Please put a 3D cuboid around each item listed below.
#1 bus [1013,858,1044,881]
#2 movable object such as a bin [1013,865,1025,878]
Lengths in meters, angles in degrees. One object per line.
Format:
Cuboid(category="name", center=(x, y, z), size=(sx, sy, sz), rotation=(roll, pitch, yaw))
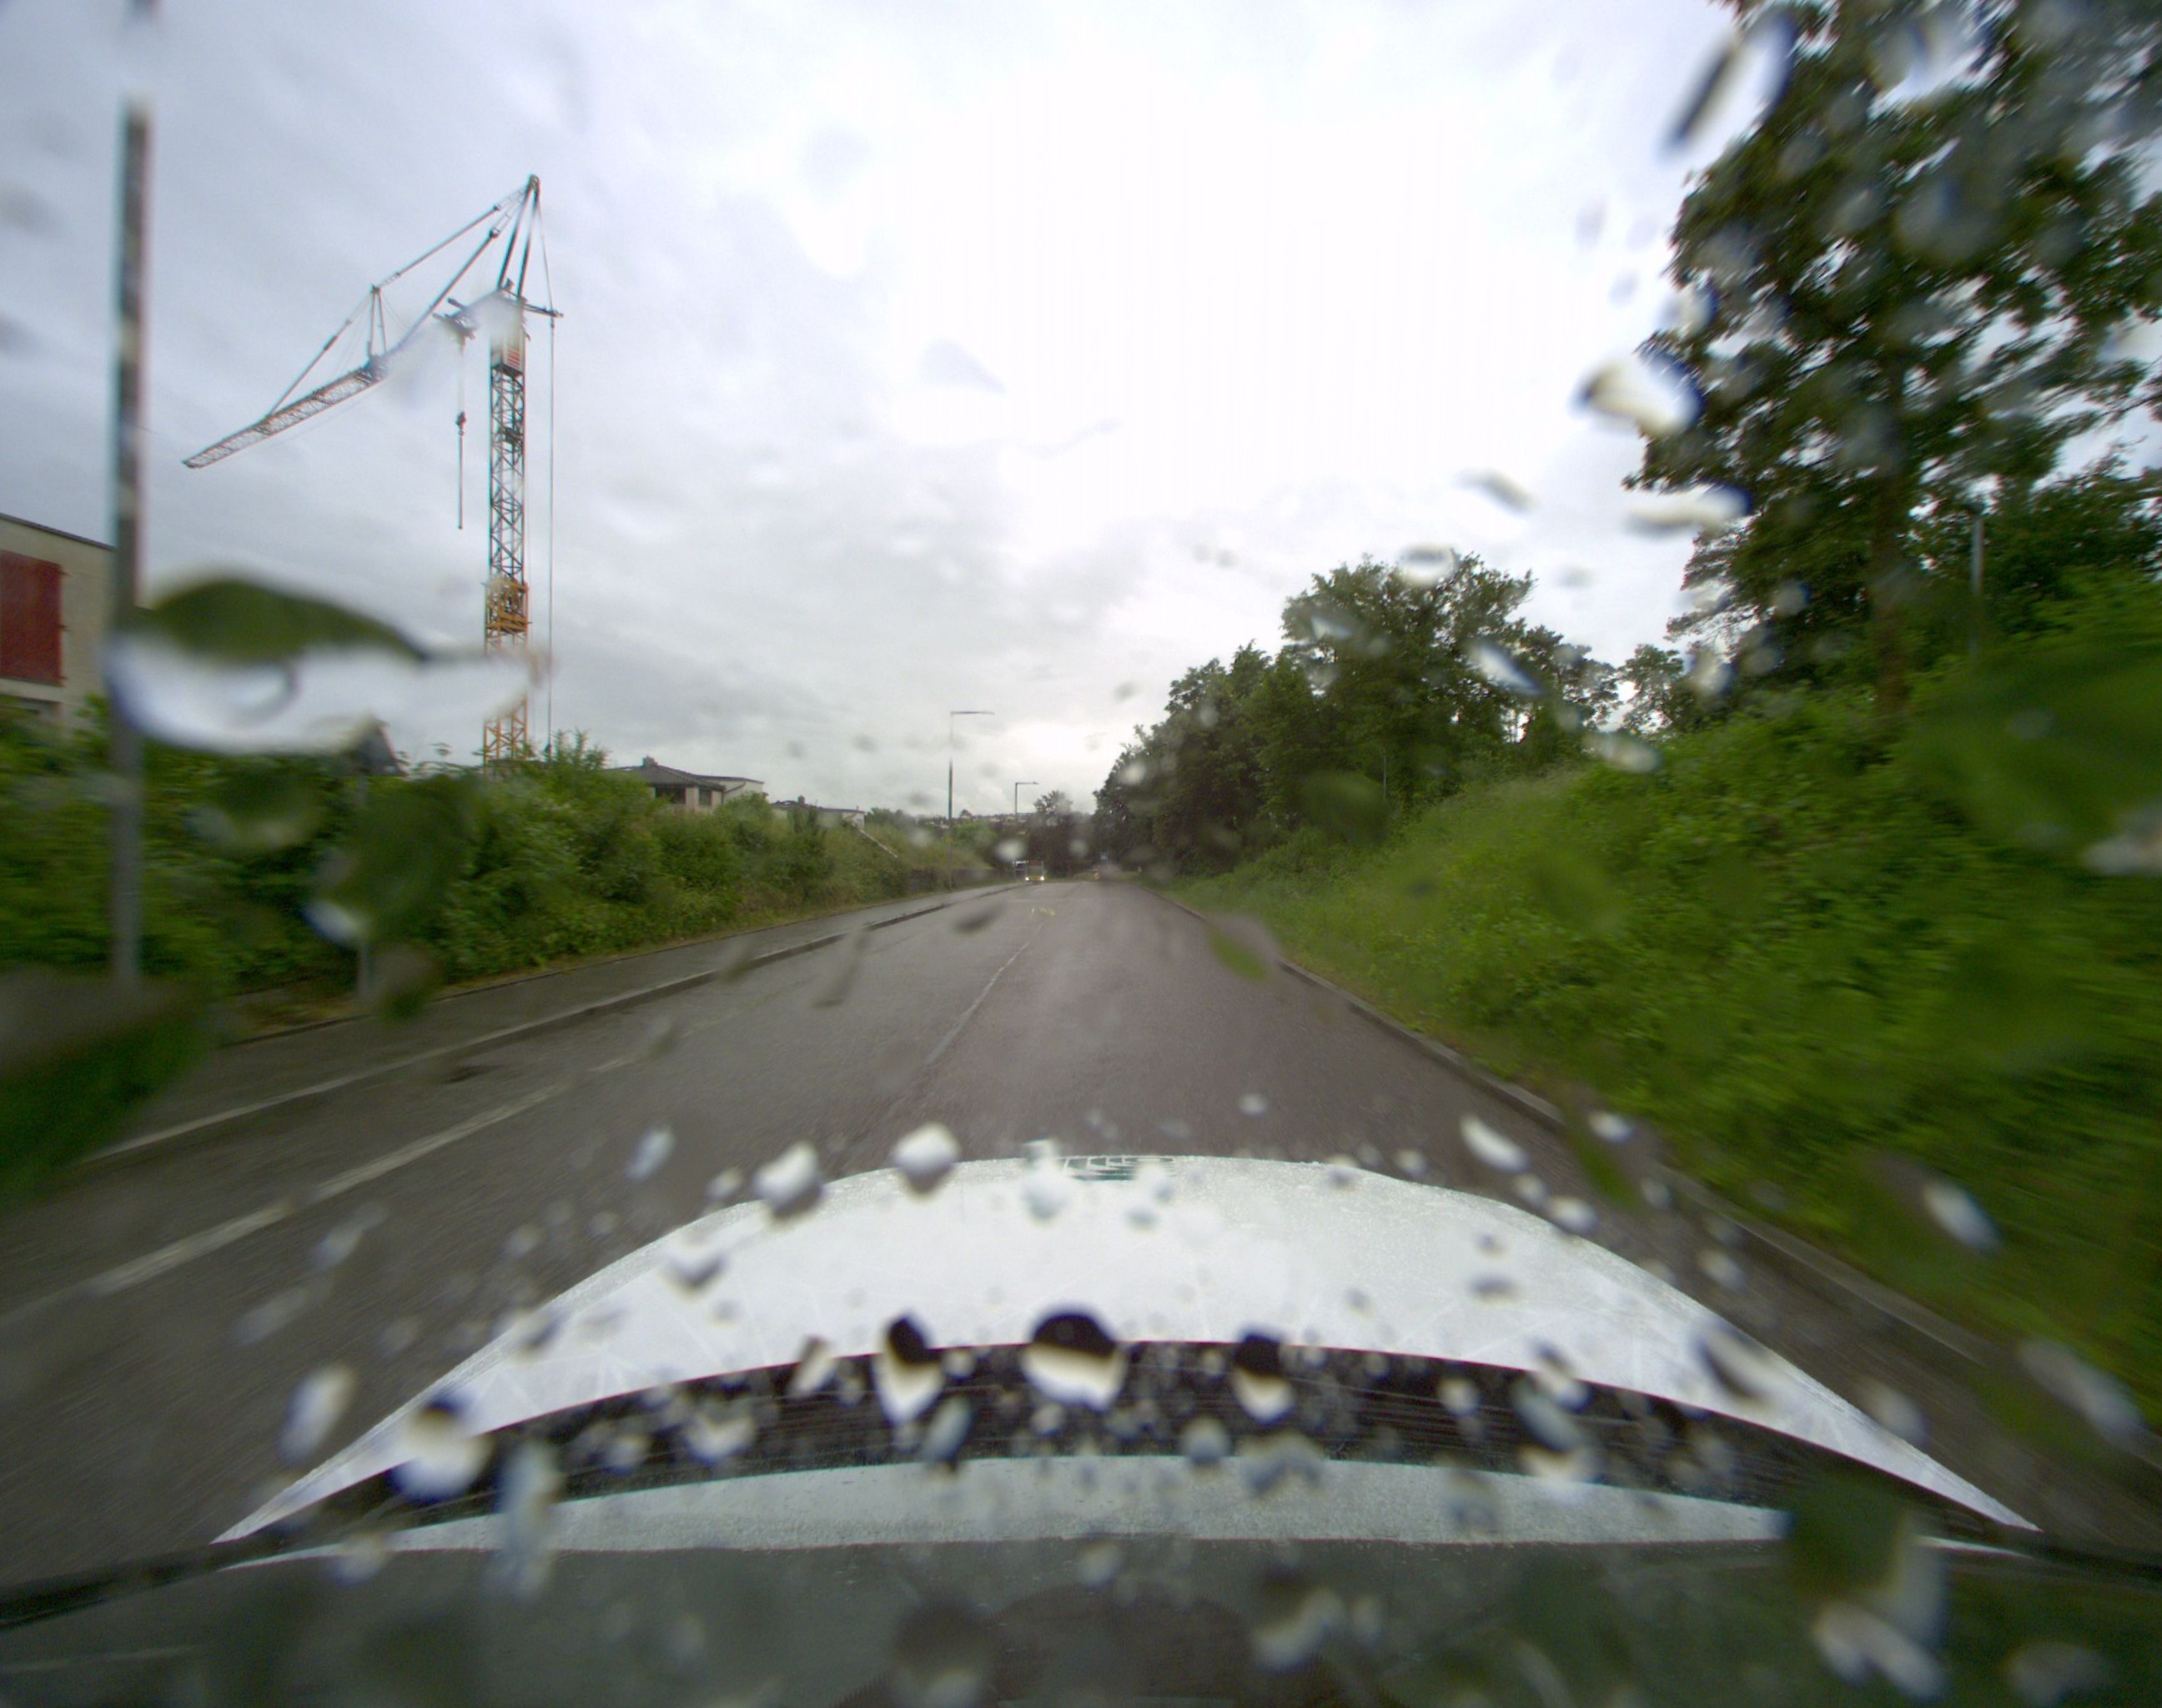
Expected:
Cuboid(category="bus", center=(-7.286, 2.183, 111.586), size=(2.642, 3.068, 10.805), rotation=(0, -2, -13))
Cuboid(category="movable object such as a bin", center=(-6.509, 1.820, 85.940), size=(1.131, 1.339, 1.394), rotation=(3, -2, -9))
